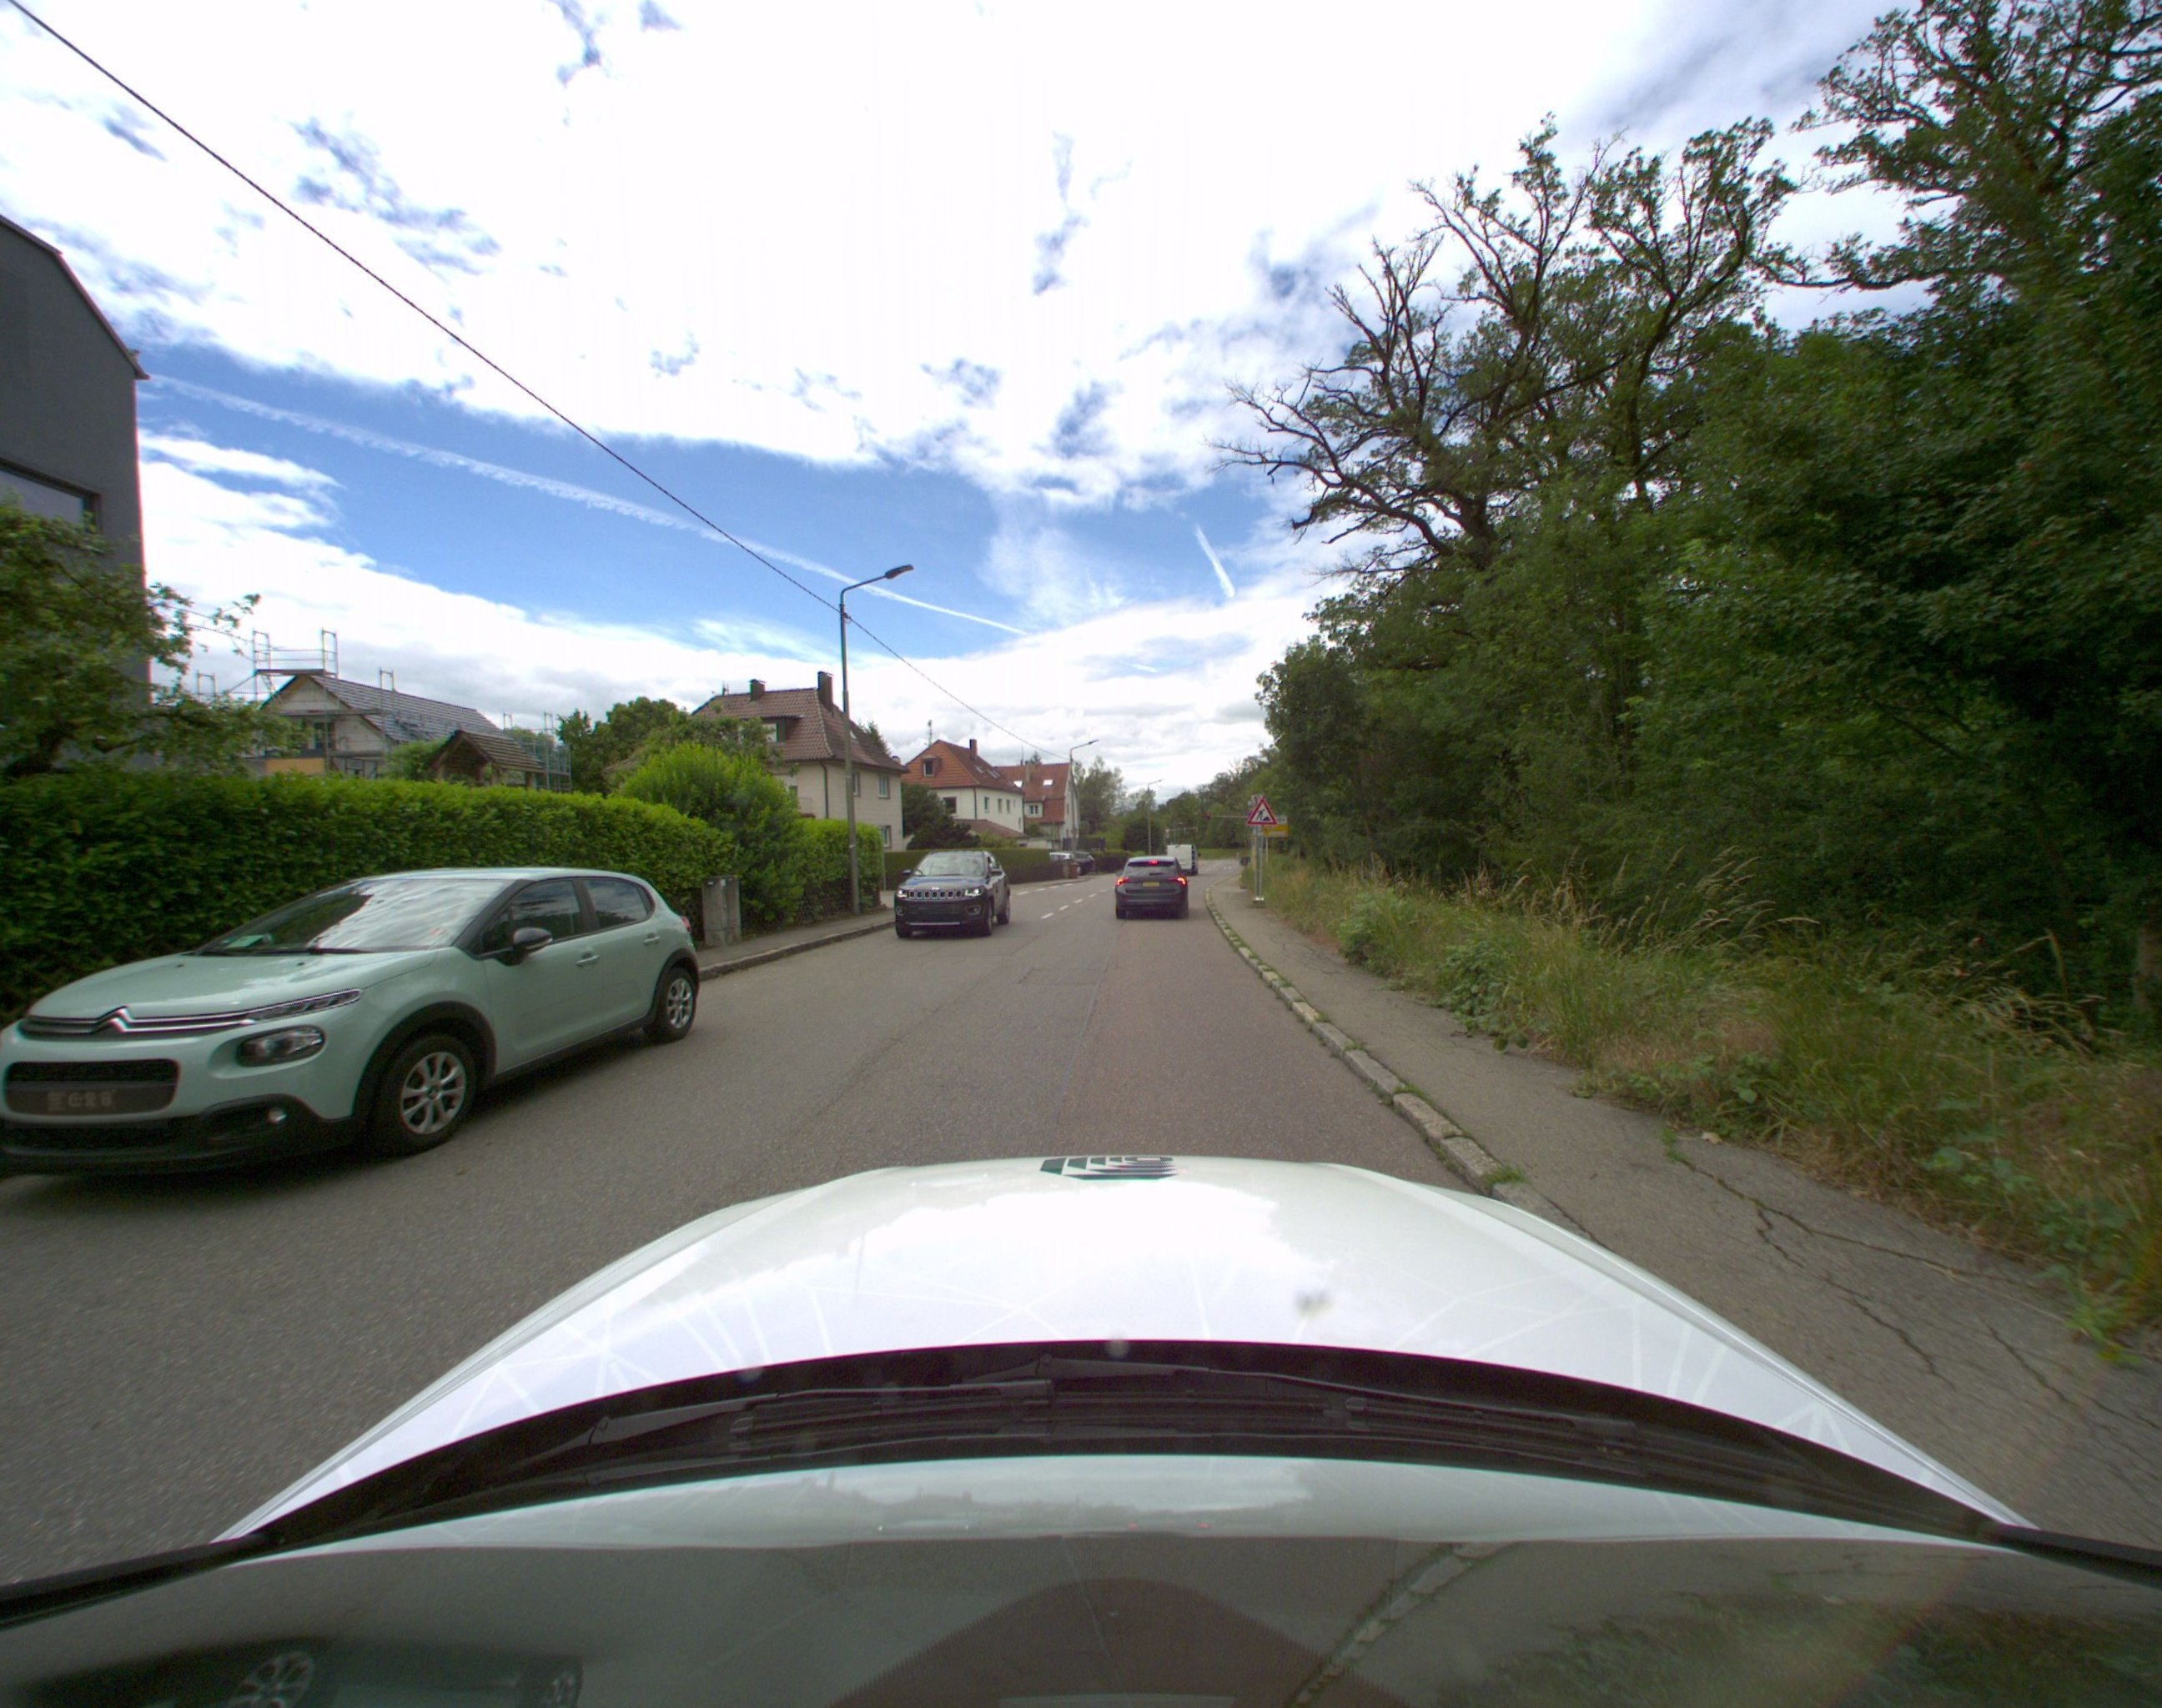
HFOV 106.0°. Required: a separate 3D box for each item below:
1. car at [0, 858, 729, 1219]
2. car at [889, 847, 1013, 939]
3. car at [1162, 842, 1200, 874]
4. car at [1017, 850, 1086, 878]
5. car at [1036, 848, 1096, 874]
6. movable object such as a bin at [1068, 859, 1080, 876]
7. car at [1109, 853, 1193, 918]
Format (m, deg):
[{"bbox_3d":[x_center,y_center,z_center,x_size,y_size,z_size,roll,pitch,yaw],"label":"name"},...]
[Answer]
[{"bbox_3d":[-4.200,0.794,5.443,1.776,1.500,4.017,-1,0,3],"label":"car"},{"bbox_3d":[-2.513,0.680,16.800,1.828,1.597,4.323,-1,1,0],"label":"car"},{"bbox_3d":[6.546,0.256,52.830,2.058,1.922,4.937,-1,0,11],"label":"car"},{"bbox_3d":[-1.826,0.613,51.609,3.963,1.618,2.005,-2,0,9],"label":"car"},{"bbox_3d":[-1.023,0.482,56.680,3.970,1.706,1.918,-2,0,3],"label":"car"},{"bbox_3d":[-0.419,0.774,47.987,0.596,0.951,0.580,-2,0,7],"label":"movable object such as a bin"},{"bbox_3d":[1.659,0.718,20.574,1.722,1.439,4.323,-1,0,0],"label":"car"}]
